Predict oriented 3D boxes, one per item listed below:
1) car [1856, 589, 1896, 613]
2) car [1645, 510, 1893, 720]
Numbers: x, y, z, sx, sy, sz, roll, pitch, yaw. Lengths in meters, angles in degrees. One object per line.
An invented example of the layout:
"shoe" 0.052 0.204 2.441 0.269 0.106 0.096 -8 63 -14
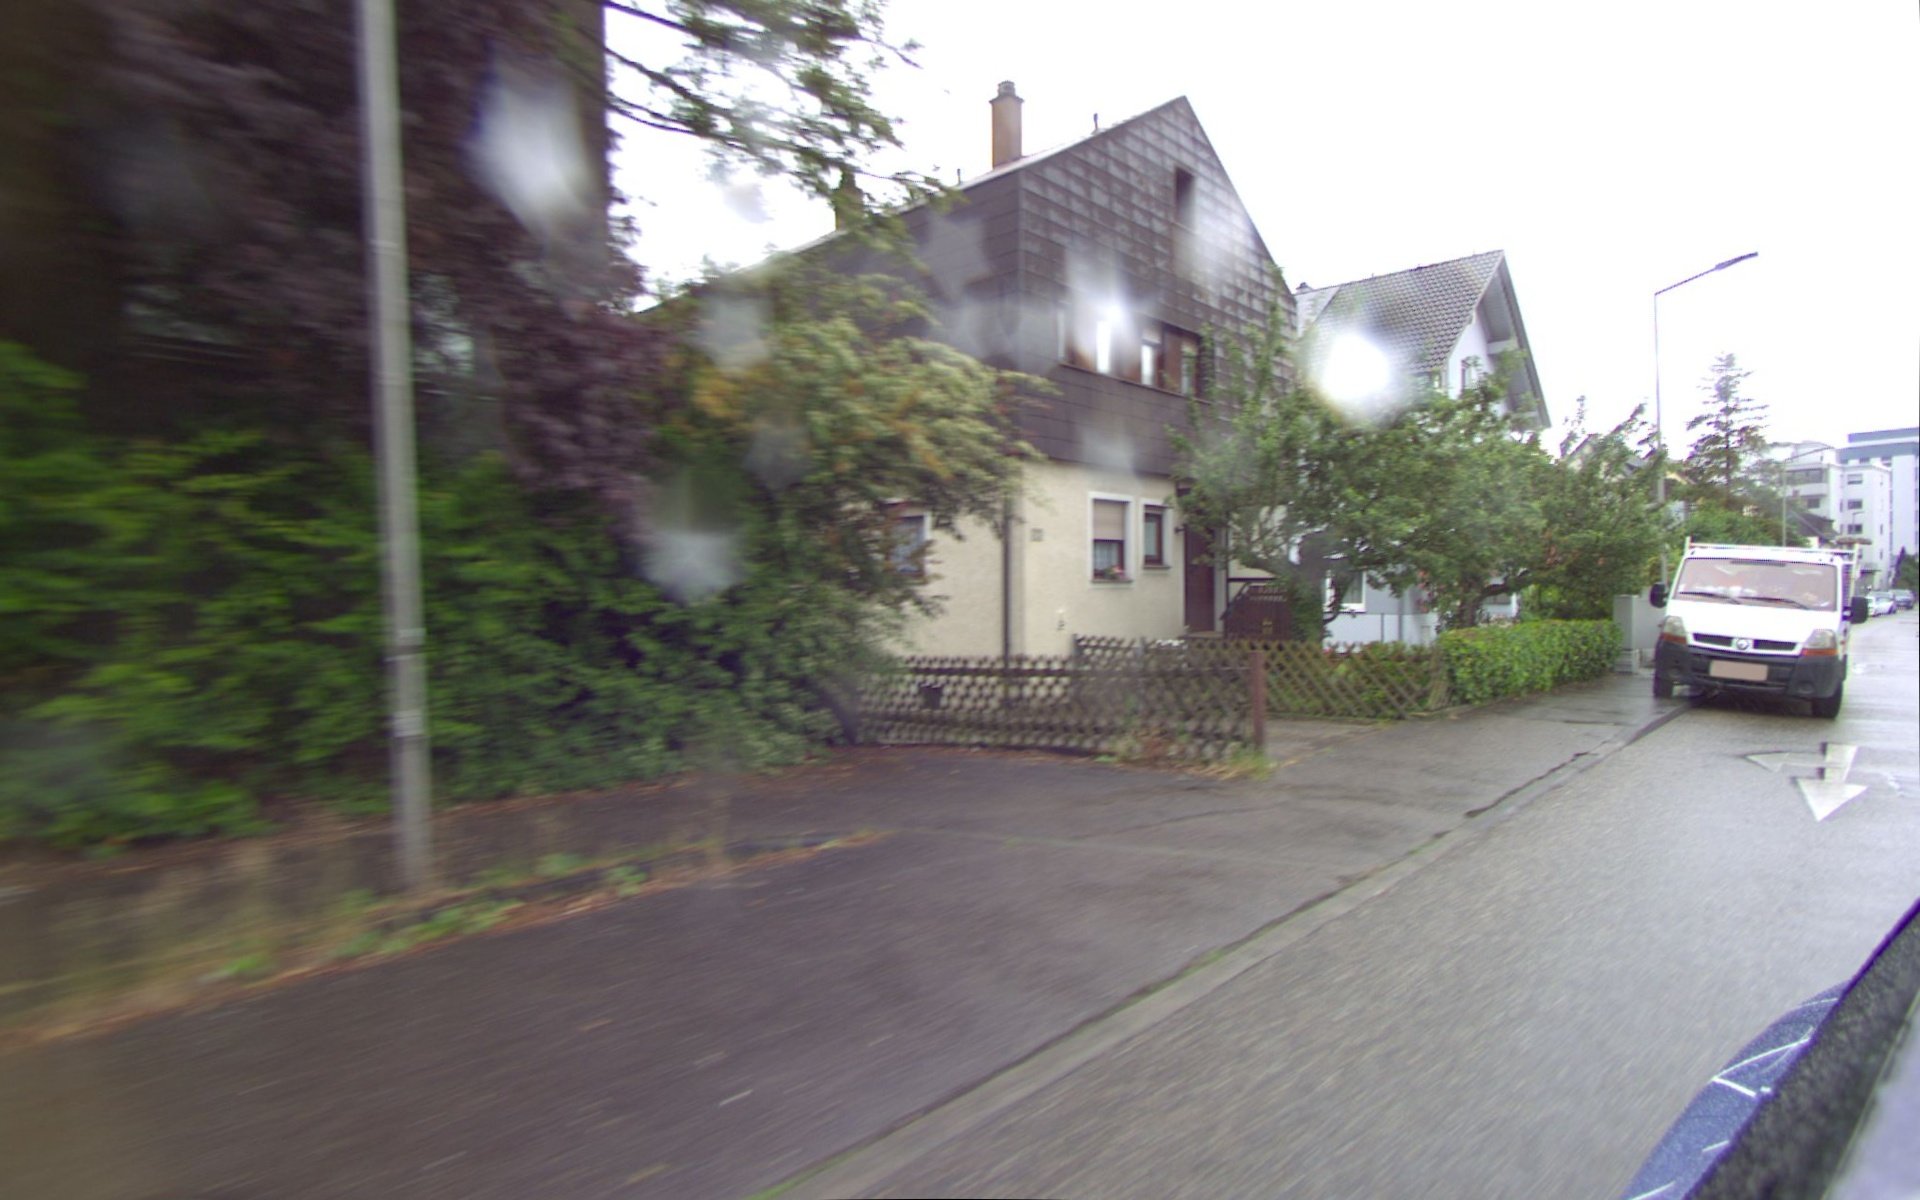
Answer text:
"car" 67.265 0.058 74.292 3.640 1.652 1.910 0 1 -43
"car" 12.180 0.142 15.046 2.390 2.462 6.334 2 1 42
